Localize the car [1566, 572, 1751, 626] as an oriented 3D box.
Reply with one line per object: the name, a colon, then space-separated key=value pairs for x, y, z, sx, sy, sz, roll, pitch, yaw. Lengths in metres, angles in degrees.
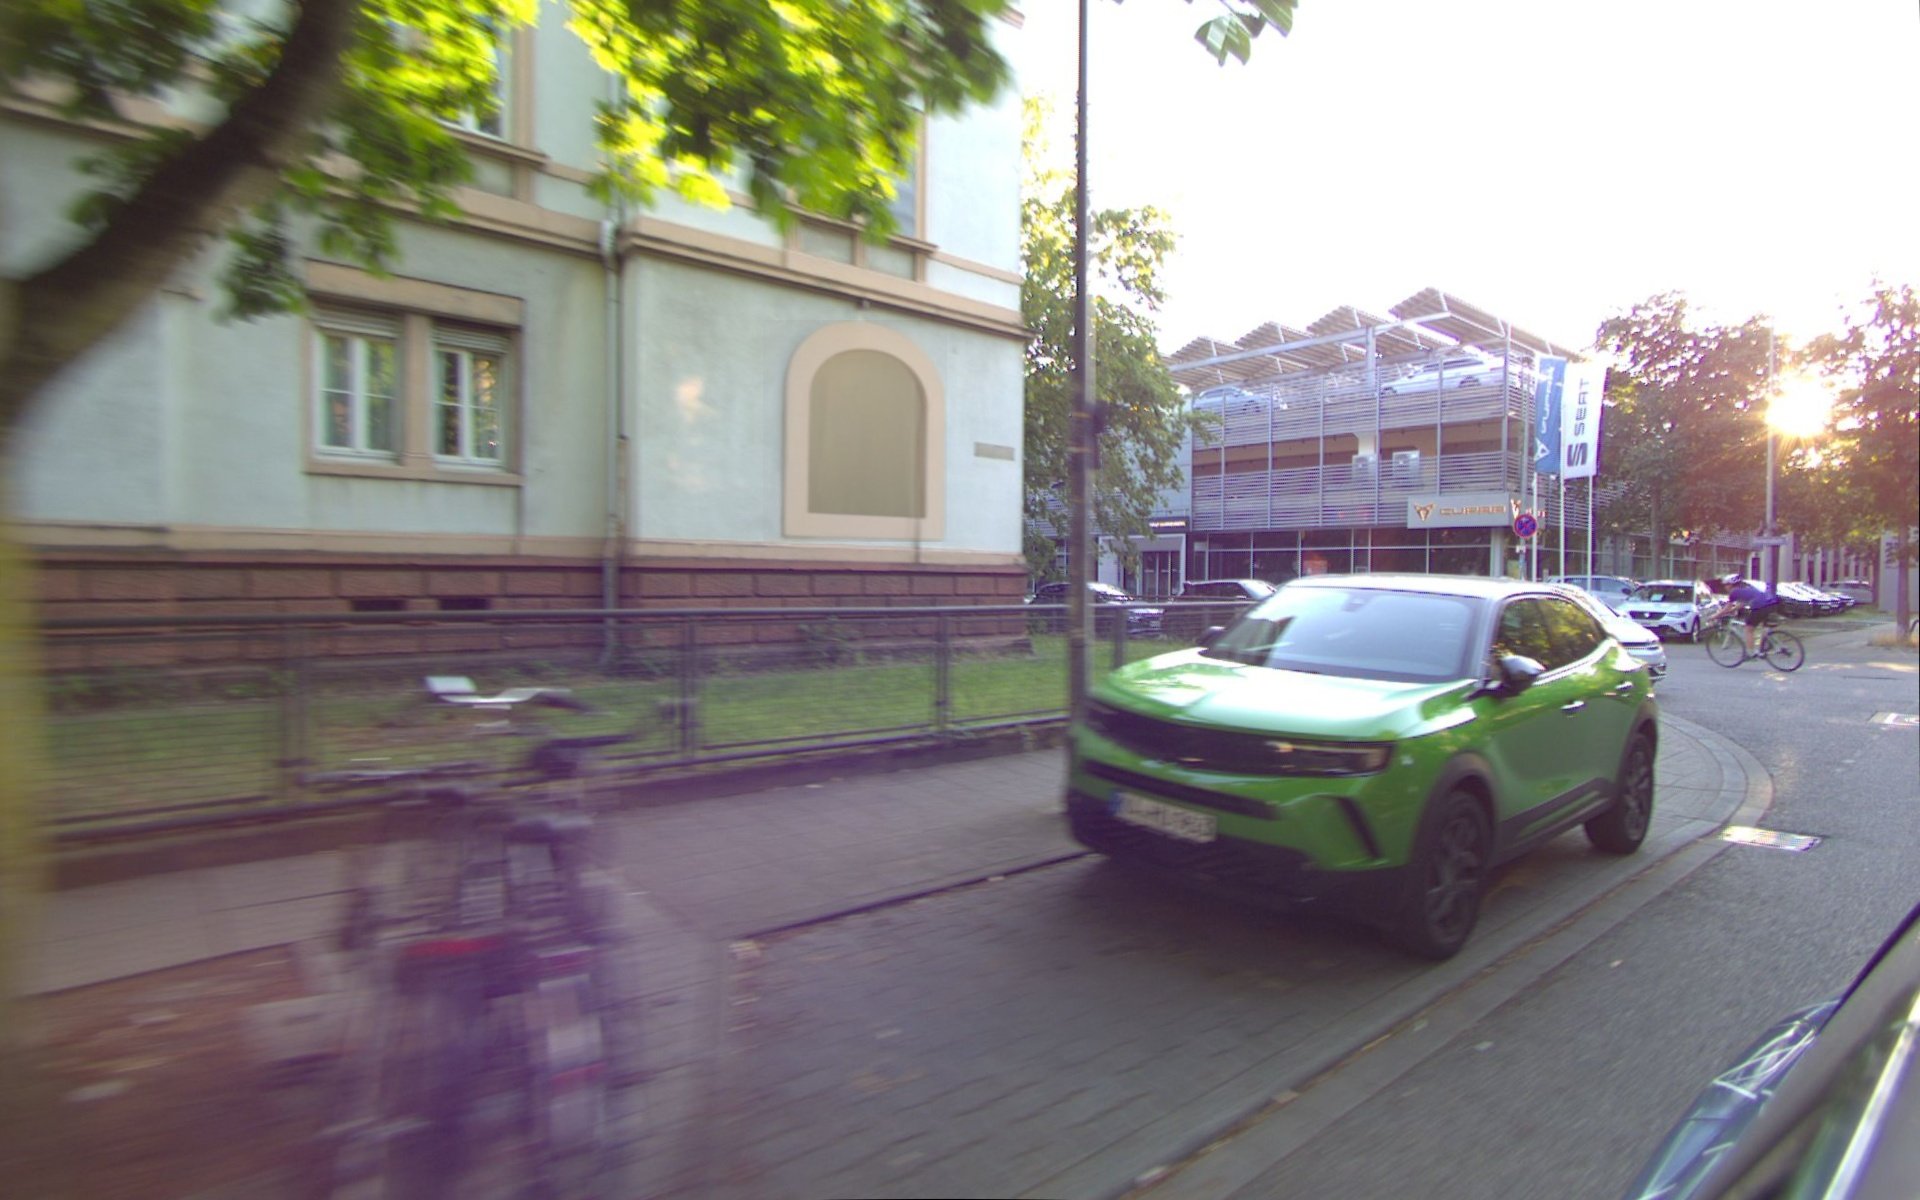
car: x=22.299 y=-0.059 z=32.458 sx=1.840 sy=1.636 sz=4.584 roll=0 pitch=1 yaw=-41

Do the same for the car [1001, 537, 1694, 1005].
car: x=2.256 y=0.549 z=5.382 sx=3.892 sy=1.575 sz=1.735 roll=0 pitch=3 yaw=-40

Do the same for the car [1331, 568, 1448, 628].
car: x=13.104 y=-0.104 z=30.828 sx=3.627 sy=1.611 sz=1.706 roll=-3 pitch=3 yaw=-37

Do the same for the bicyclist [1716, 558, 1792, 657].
bicyclist: x=13.139 y=0.114 z=16.754 sx=0.499 sy=1.597 sz=0.825 roll=1 pitch=0 yaw=-15

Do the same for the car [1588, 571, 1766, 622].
car: x=23.941 y=-0.151 z=33.909 sx=1.840 sy=1.592 sz=4.584 roll=0 pitch=1 yaw=-41

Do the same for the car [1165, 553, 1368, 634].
car: x=6.382 y=-0.191 z=21.458 sx=1.603 sy=1.564 sz=3.941 roll=-1 pitch=2 yaw=-37

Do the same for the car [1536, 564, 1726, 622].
car: x=20.524 y=-0.227 z=31.112 sx=1.840 sy=1.664 sz=4.584 roll=0 pitch=1 yaw=-41

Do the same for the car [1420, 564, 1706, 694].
car: x=8.333 y=0.341 z=14.488 sx=1.780 sy=1.520 sz=4.167 roll=-3 pitch=0 yaw=5

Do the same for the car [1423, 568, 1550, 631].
car: x=14.902 y=-0.069 z=28.553 sx=4.053 sy=1.625 sz=1.716 roll=-2 pitch=2 yaw=-39

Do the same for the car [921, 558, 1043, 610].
car: x=0.601 y=-0.464 z=30.073 sx=1.604 sy=1.453 sz=3.683 roll=1 pitch=0 yaw=-39

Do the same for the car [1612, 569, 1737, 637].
car: x=17.997 y=0.042 z=25.434 sx=3.835 sy=1.591 sz=1.765 roll=0 pitch=1 yaw=-42

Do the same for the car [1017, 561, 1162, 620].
car: x=3.410 y=-0.277 z=27.158 sx=1.604 sy=1.452 sz=3.781 roll=1 pitch=1 yaw=-39

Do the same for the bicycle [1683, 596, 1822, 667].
bicycle: x=13.161 y=0.490 z=16.885 sx=0.528 sy=1.046 sz=1.911 roll=-1 pitch=2 yaw=-12
